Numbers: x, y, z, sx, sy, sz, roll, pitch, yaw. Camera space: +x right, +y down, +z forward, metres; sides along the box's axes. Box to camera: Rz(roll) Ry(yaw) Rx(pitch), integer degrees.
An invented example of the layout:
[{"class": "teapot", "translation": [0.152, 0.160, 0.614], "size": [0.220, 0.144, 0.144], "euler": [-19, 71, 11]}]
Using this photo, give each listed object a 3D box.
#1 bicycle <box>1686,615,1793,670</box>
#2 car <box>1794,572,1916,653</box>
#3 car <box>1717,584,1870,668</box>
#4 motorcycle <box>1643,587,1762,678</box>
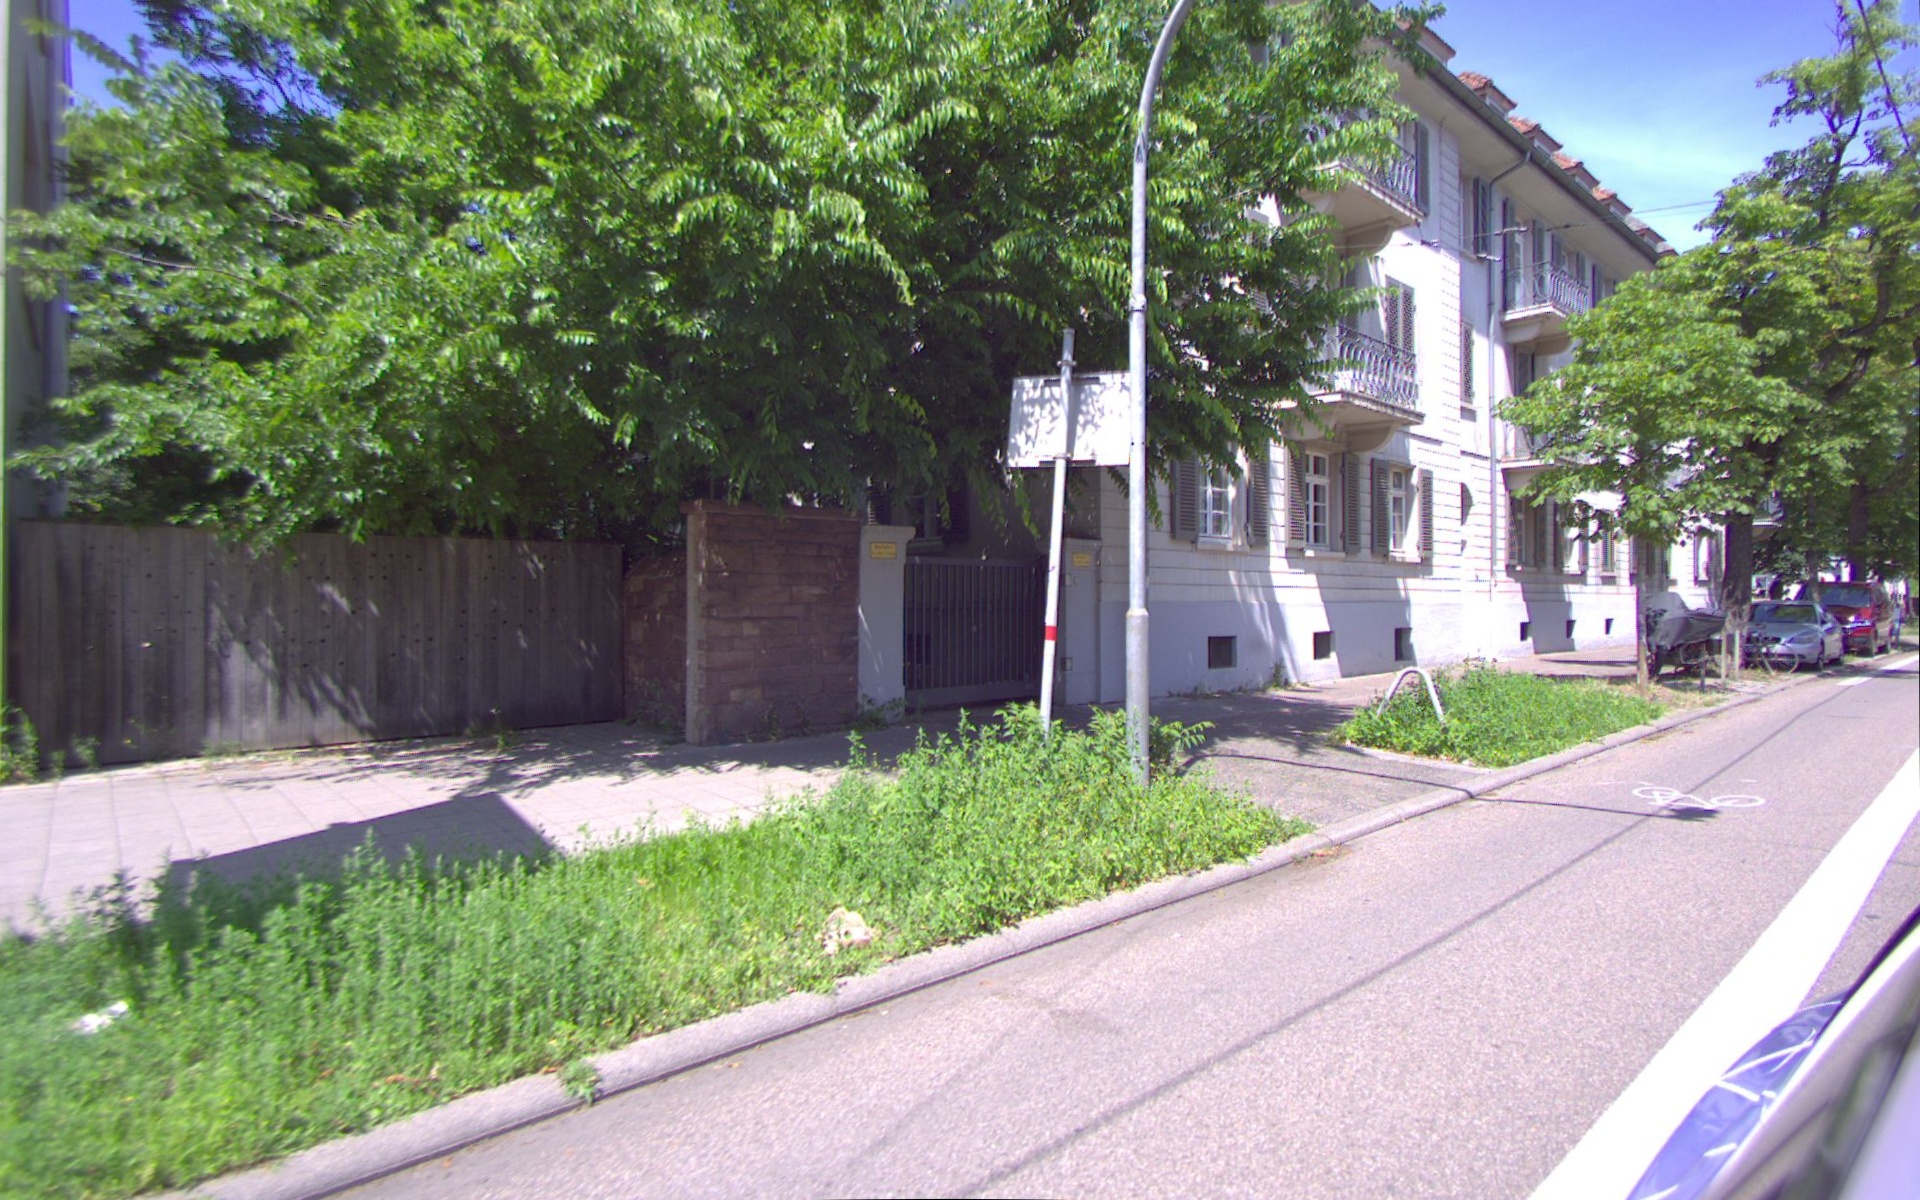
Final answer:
[{"class": "bicycle", "translation": [15.581, 0.834, 20.273], "size": [0.365, 1.028, 1.660], "euler": [0, 0, -40]}, {"class": "car", "translation": [24.611, 0.284, 27.776], "size": [4.889, 2.039, 1.862], "euler": [-1, 0, -41]}, {"class": "car", "translation": [18.370, 0.504, 22.227], "size": [4.794, 1.597, 1.862], "euler": [-1, 0, -42]}, {"class": "motorcycle", "translation": [13.077, 0.532, 17.793], "size": [2.507, 1.525, 0.748], "euler": [0, 0, -31]}]
